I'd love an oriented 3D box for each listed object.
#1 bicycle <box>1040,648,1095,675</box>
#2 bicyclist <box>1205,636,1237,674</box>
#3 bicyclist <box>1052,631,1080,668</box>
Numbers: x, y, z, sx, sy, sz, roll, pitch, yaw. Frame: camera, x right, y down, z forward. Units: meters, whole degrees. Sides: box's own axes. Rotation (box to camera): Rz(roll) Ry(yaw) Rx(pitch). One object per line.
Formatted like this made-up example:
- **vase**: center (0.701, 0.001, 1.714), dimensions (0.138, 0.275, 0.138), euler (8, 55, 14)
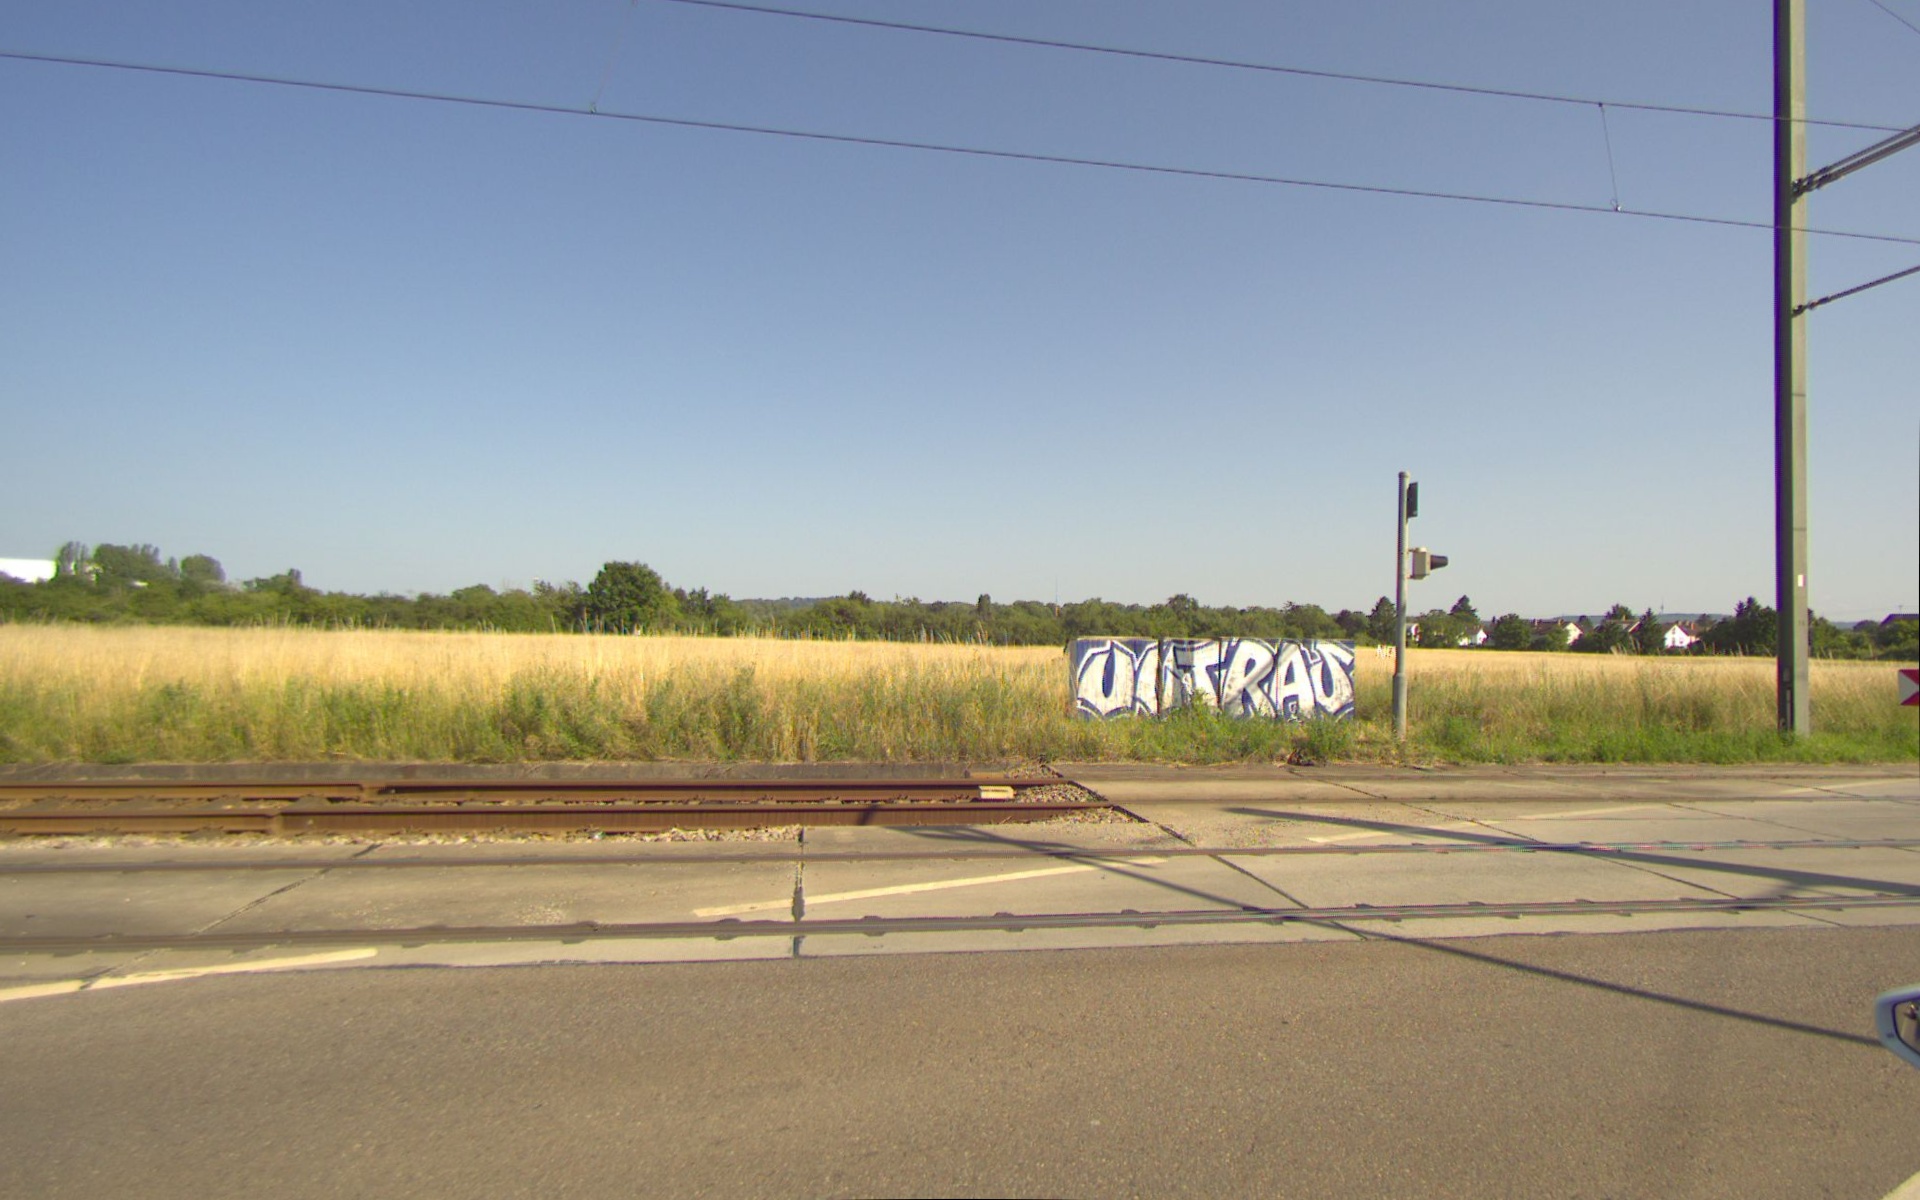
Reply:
- **bicycle**: center (3.593, 2.040, 33.503), dimensions (1.705, 0.850, 0.614), euler (2, -1, -10)
- **bicyclist**: center (8.696, 1.828, 33.463), dimensions (0.775, 1.221, 0.746), euler (2, -1, -10)
- **bicyclist**: center (3.549, 1.655, 33.504), dimensions (0.775, 1.221, 0.603), euler (1, -1, -10)
